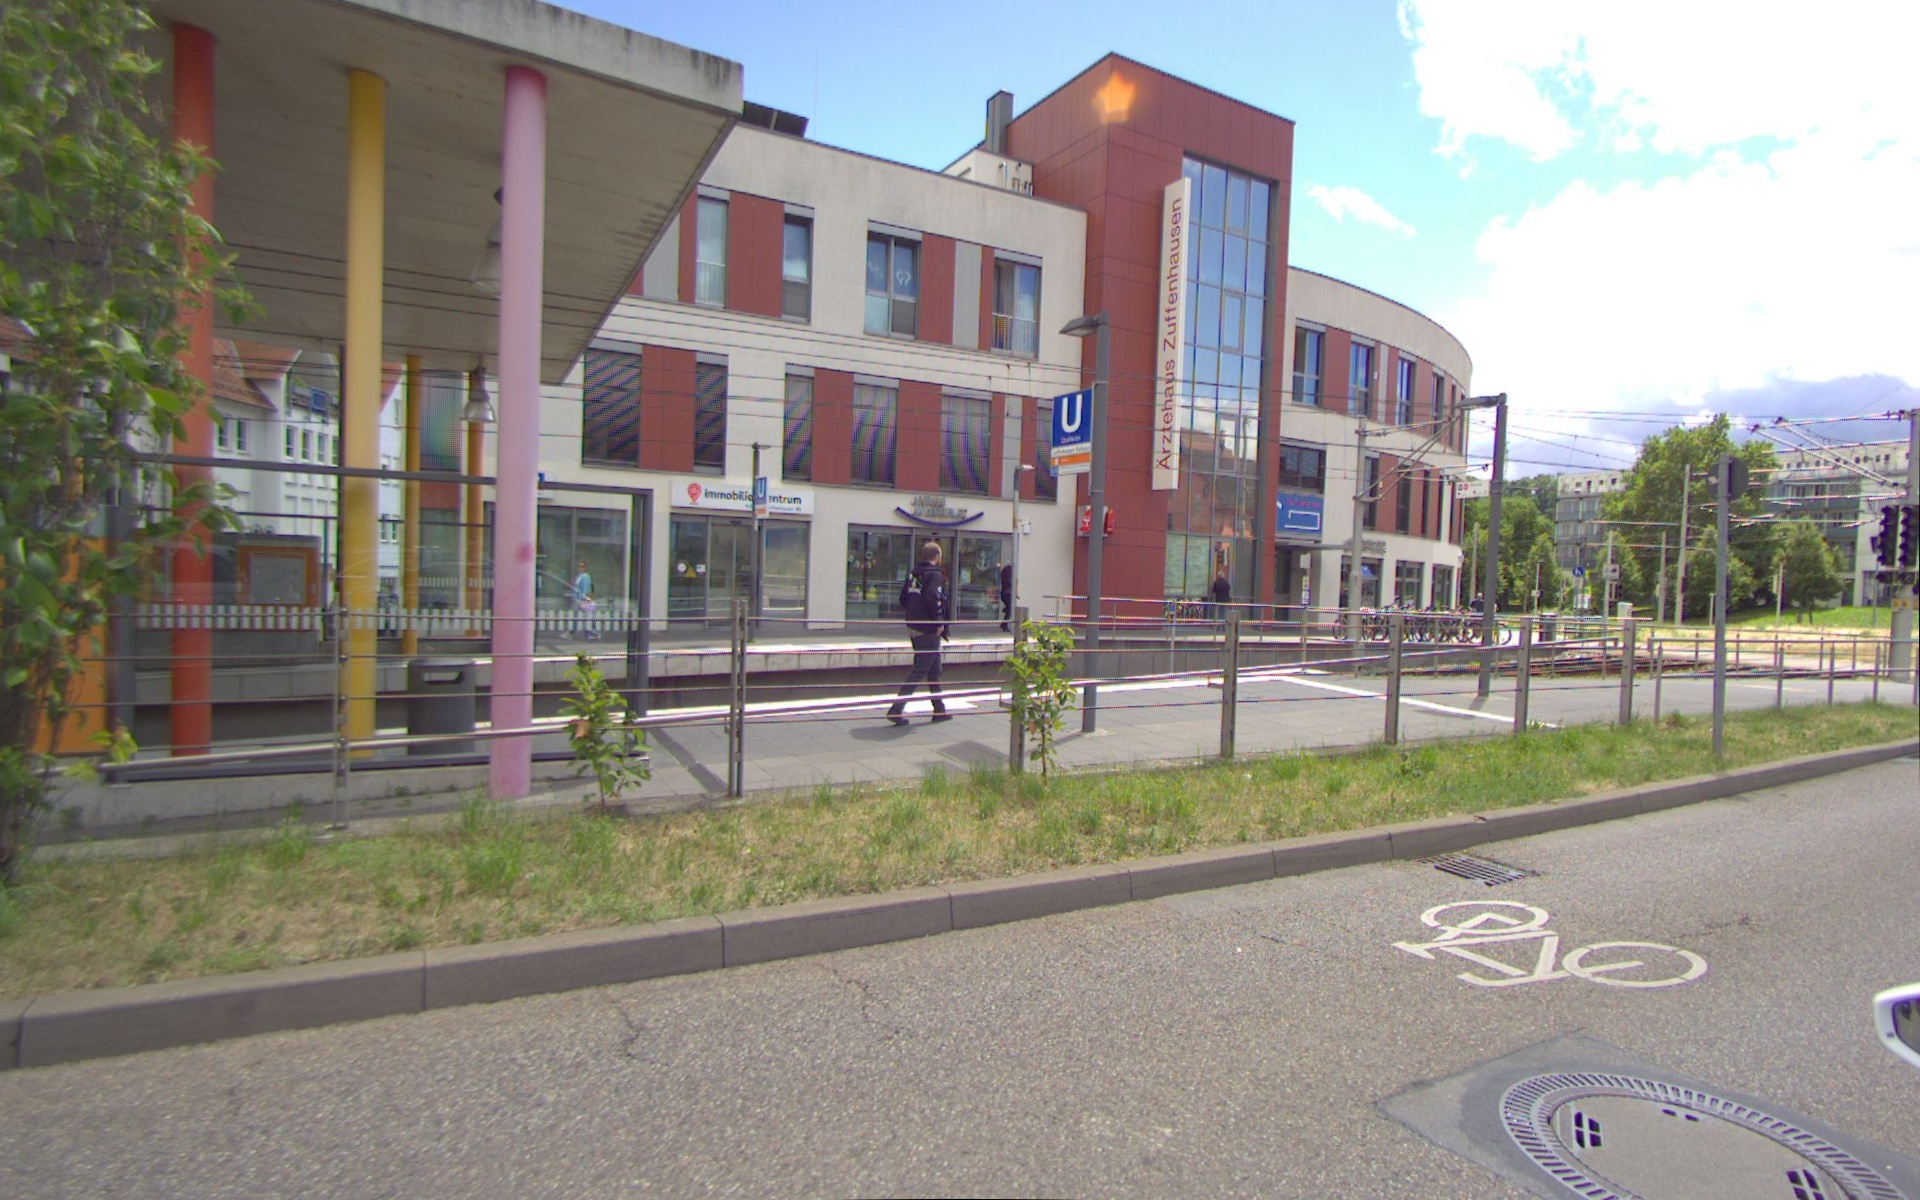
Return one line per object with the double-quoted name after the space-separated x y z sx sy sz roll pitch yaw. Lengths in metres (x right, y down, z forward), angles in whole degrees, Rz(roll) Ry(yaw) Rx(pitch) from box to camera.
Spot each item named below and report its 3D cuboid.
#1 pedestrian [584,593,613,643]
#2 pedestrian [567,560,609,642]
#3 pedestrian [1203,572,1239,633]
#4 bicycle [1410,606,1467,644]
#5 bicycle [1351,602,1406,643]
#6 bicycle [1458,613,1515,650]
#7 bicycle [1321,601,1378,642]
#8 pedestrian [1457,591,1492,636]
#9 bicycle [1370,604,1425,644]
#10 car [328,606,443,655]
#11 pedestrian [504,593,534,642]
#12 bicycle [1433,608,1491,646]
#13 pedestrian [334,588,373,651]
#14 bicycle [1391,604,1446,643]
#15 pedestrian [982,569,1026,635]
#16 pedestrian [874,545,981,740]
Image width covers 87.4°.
-7.651 0.375 21.243 0.486 1.003 0.362 3 2 -27 "pedestrian"
-8.062 0.019 21.768 0.715 1.707 0.682 3 2 -27 "pedestrian"
8.300 0.074 31.995 0.730 1.876 0.653 3 2 -28 "pedestrian"
14.383 0.739 30.221 0.487 1.115 1.500 3 -1 -30 "bicycle"
11.908 0.630 28.621 0.404 1.115 1.500 3 -1 -30 "bicycle"
16.601 0.987 31.712 0.509 1.115 1.558 3 -1 -30 "bicycle"
10.879 0.597 28.074 0.404 1.115 1.558 3 -1 -30 "bicycle"
19.396 0.514 37.890 0.843 1.592 0.855 6 3 45 "pedestrian"
12.731 0.692 29.235 0.404 1.115 1.500 3 -1 -30 "bicycle"
-17.781 0.941 31.274 1.617 1.342 3.715 4 -2 -5 "car"
-9.655 0.387 21.983 0.555 1.036 0.362 3 2 -27 "pedestrian"
15.270 0.819 30.588 0.509 1.115 1.558 3 -1 -30 "bicycle"
-13.171 0.413 21.807 0.505 1.322 0.523 5 2 37 "pedestrian"
13.465 0.681 29.543 0.404 1.115 1.500 3 -1 -30 "bicycle"
1.163 0.060 26.518 0.833 1.671 0.653 3 2 -29 "pedestrian"
-0.328 0.389 10.193 0.725 1.870 0.780 4 4 39 "pedestrian"
